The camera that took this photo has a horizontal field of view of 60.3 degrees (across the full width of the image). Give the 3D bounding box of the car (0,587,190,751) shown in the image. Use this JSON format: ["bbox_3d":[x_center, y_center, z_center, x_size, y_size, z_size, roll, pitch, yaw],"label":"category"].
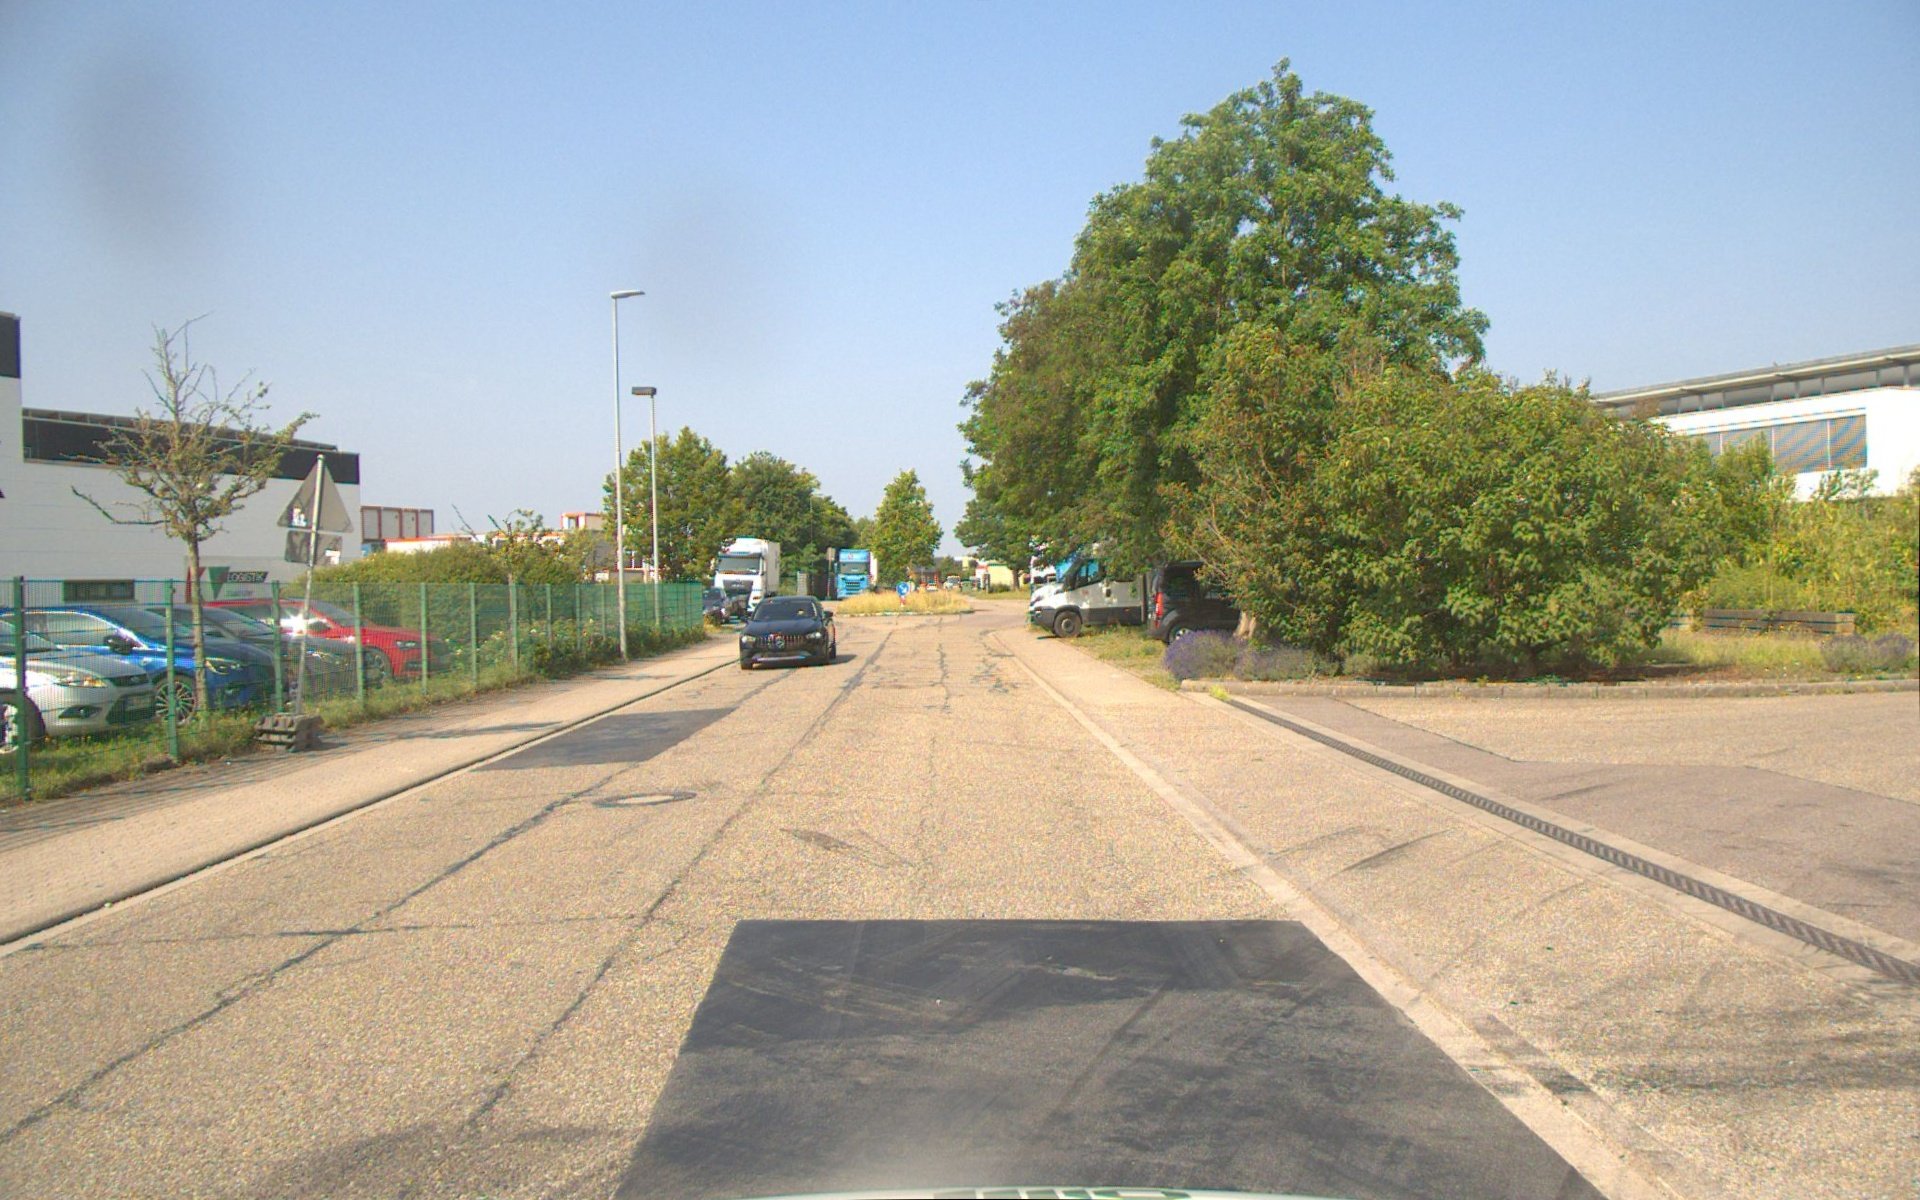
[{"bbox_3d":[-9.968,0.710,16.136,3.959,1.469,1.873,-3,0,-2],"label":"car"}]

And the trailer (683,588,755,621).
[{"bbox_3d":[-11.350,0.187,78.215,2.626,1.479,5.077,0,1,0],"label":"trailer"}]

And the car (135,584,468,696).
[{"bbox_3d":[-10.379,0.602,26.346,4.445,1.469,1.951,-3,0,-2],"label":"car"}]

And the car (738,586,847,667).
[{"bbox_3d":[-3.464,0.505,34.975,1.954,1.474,4.417,-4,1,-3],"label":"car"}]

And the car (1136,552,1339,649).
[{"bbox_3d":[5.800,0.004,34.914,3.905,1.870,2.000,-2,0,0],"label":"car"}]

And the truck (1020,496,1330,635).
[{"bbox_3d":[5.805,-0.924,45.555,8.044,3.429,2.740,-2,-1,-2],"label":"truck"}]

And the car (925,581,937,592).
[{"bbox_3d":[-4.502,-2.043,253.966,1.684,1.690,3.821,1,-1,-3],"label":"car"}]

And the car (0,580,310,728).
[{"bbox_3d":[-9.836,0.612,18.949,3.959,1.469,1.873,-3,0,-2],"label":"car"}]

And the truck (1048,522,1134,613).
[{"bbox_3d":[5.811,-1.355,74.879,2.830,3.596,9.754,-5,0,0],"label":"truck"}]

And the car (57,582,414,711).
[{"bbox_3d":[-9.770,0.593,22.553,3.959,1.469,1.873,-3,0,-2],"label":"car"}]

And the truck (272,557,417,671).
[{"bbox_3d":[-23.431,0.519,63.278,2.459,4.142,5.548,0,-1,14],"label":"truck"}]

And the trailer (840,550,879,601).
[{"bbox_3d":[-8.391,-1.964,138.786,2.774,3.910,12.032,1,-1,-1],"label":"trailer"}]

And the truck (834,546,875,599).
[{"bbox_3d":[-8.181,-2.056,129.264,2.768,3.893,9.669,1,-1,-1],"label":"truck"}]

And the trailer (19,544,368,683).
[{"bbox_3d":[-25.284,0.459,56.039,2.429,4.112,13.898,0,-1,15],"label":"trailer"}]

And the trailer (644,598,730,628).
[{"bbox_3d":[-10.687,0.481,65.332,2.496,0.941,6.707,2,1,-2],"label":"trailer"}]

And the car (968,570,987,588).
[{"bbox_3d":[1.829,-2.169,170.126,1.756,1.780,3.998,1,-1,-2],"label":"car"}]

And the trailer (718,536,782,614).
[{"bbox_3d":[-11.254,-1.247,89.121,2.645,3.990,7.572,1,-1,-2],"label":"trailer"}]

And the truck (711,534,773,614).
[{"bbox_3d":[-11.136,-1.283,84.738,2.654,3.990,4.295,1,-1,-2],"label":"truck"}]

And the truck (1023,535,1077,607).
[{"bbox_3d":[5.363,-1.732,98.819,2.690,4.050,3.999,-4,0,-1],"label":"truck"}]

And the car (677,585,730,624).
[{"bbox_3d":[-11.108,0.156,71.927,1.661,1.588,4.335,1,1,-1],"label":"car"}]

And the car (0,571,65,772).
[{"bbox_3d":[-9.645,0.674,13.052,4.044,1.595,1.864,-3,0,-2],"label":"car"}]
